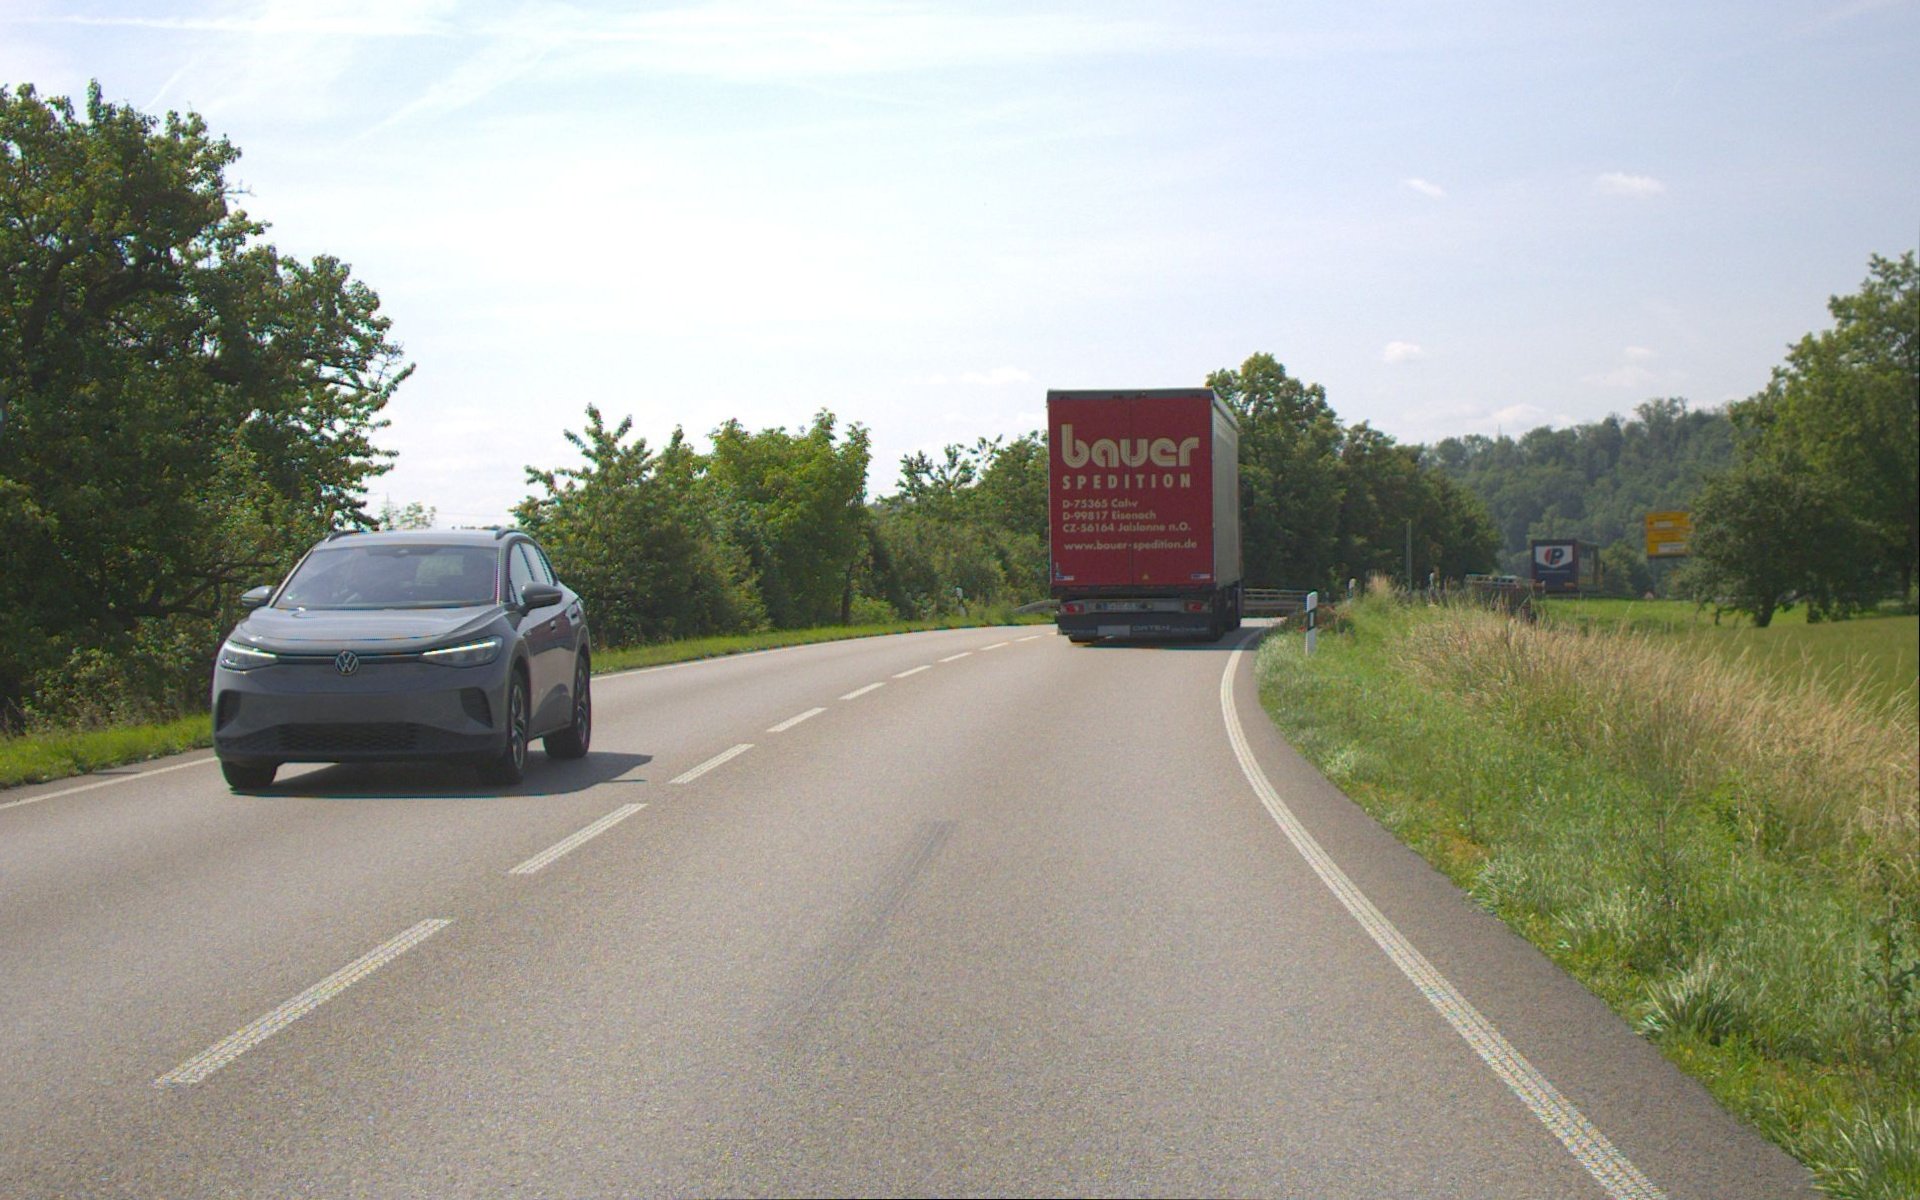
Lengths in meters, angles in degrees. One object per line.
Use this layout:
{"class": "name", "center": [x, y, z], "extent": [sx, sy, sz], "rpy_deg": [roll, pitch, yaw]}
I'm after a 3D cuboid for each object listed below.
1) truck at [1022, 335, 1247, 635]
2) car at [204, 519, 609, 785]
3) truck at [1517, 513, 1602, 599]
{"class": "truck", "center": [3.139, -1.751, 58.108], "extent": [3.113, 4.490, 12.164], "rpy_deg": [1, 0, 6]}
{"class": "car", "center": [-3.563, 0.280, 22.930], "extent": [1.879, 1.587, 4.491], "rpy_deg": [-1, 1, 1]}
{"class": "truck", "center": [35.302, -2.461, 201.888], "extent": [3.906, 4.674, 16.366], "rpy_deg": [-2, -1, 13]}
